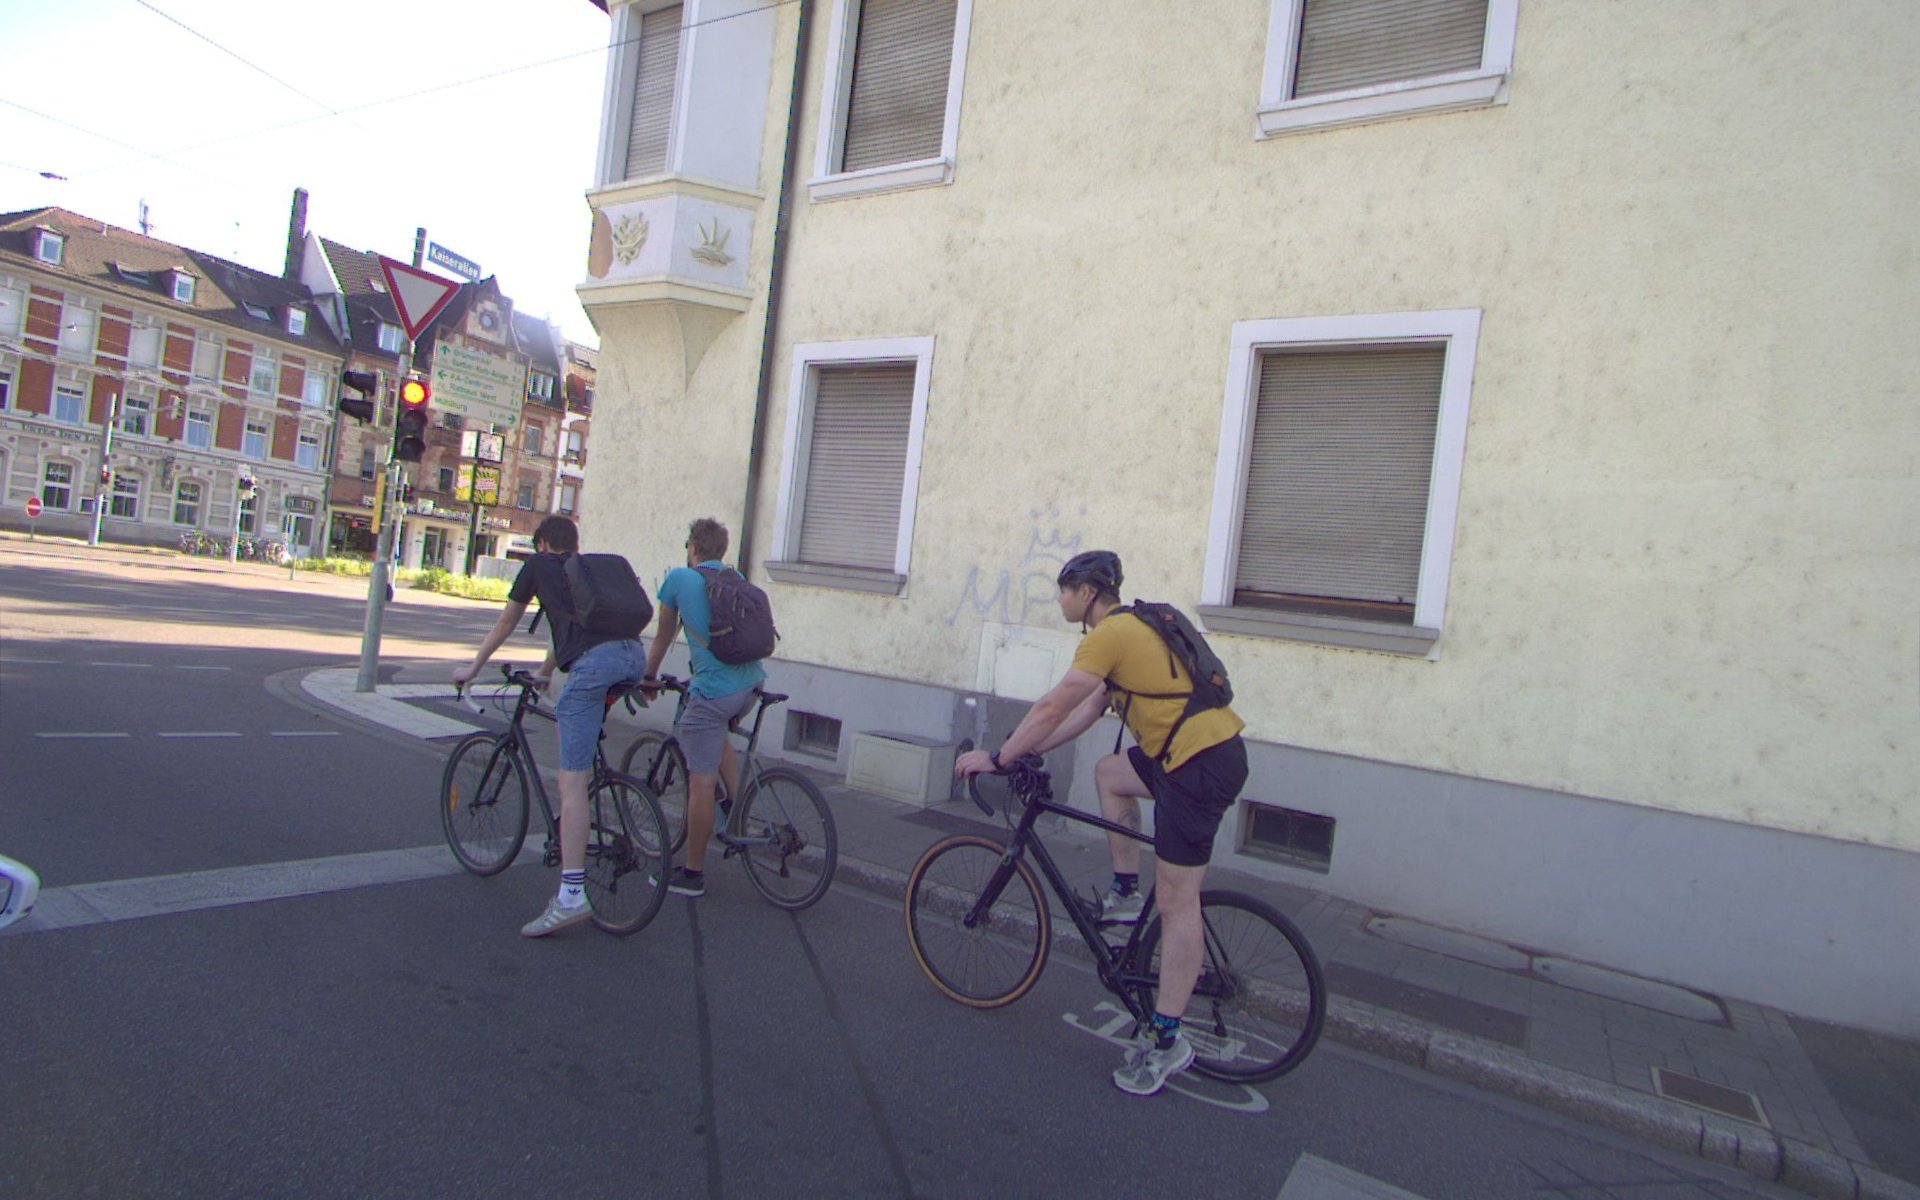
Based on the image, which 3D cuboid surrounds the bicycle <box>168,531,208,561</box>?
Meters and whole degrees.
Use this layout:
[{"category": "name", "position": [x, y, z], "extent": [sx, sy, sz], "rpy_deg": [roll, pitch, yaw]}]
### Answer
[{"category": "bicycle", "position": [-35.057, -2.444, 45.680], "extent": [2.140, 1.157, 0.806], "rpy_deg": [7, 0, 37]}]

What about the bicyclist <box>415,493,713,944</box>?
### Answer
[{"category": "bicyclist", "position": [-1.801, 0.466, 4.548], "extent": [1.083, 1.775, 0.562], "rpy_deg": [7, 0, 34]}]

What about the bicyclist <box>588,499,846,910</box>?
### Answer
[{"category": "bicyclist", "position": [-1.268, 0.492, 5.248], "extent": [0.961, 1.917, 0.602], "rpy_deg": [6, -1, 34]}]

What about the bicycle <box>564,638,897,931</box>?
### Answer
[{"category": "bicycle", "position": [-1.252, 0.879, 5.283], "extent": [1.784, 1.130, 0.519], "rpy_deg": [7, 0, 34]}]

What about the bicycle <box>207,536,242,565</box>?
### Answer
[{"category": "bicycle", "position": [-34.207, -2.306, 46.760], "extent": [2.140, 1.157, 0.618], "rpy_deg": [7, 0, 37]}]

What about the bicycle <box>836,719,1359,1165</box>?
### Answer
[{"category": "bicycle", "position": [0.471, 1.147, 3.849], "extent": [1.780, 1.101, 0.611], "rpy_deg": [7, 0, 32]}]

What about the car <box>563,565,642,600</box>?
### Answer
[{"category": "car", "position": [-23.167, -1.120, 65.322], "extent": [2.116, 1.660, 4.340], "rpy_deg": [7, -1, 31]}]

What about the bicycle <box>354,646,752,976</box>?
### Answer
[{"category": "bicycle", "position": [-1.912, 0.848, 4.594], "extent": [1.897, 1.023, 0.645], "rpy_deg": [7, 0, 34]}]

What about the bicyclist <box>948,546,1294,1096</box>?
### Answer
[{"category": "bicyclist", "position": [0.606, 0.734, 3.782], "extent": [0.939, 1.742, 0.582], "rpy_deg": [7, 0, 32]}]

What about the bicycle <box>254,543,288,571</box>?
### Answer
[{"category": "bicycle", "position": [-33.110, -2.066, 48.316], "extent": [2.102, 1.150, 0.609], "rpy_deg": [7, 0, 37]}]

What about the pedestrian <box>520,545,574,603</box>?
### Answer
[{"category": "pedestrian", "position": [-16.562, -1.039, 40.379], "extent": [1.285, 2.068, 1.321], "rpy_deg": [7, 0, 31]}]

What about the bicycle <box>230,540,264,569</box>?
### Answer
[{"category": "bicycle", "position": [-33.674, -2.159, 47.511], "extent": [2.140, 1.157, 0.618], "rpy_deg": [7, 0, 37]}]

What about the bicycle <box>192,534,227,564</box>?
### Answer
[{"category": "bicycle", "position": [-34.542, -2.354, 46.282], "extent": [2.140, 1.157, 0.618], "rpy_deg": [7, 0, 37]}]
